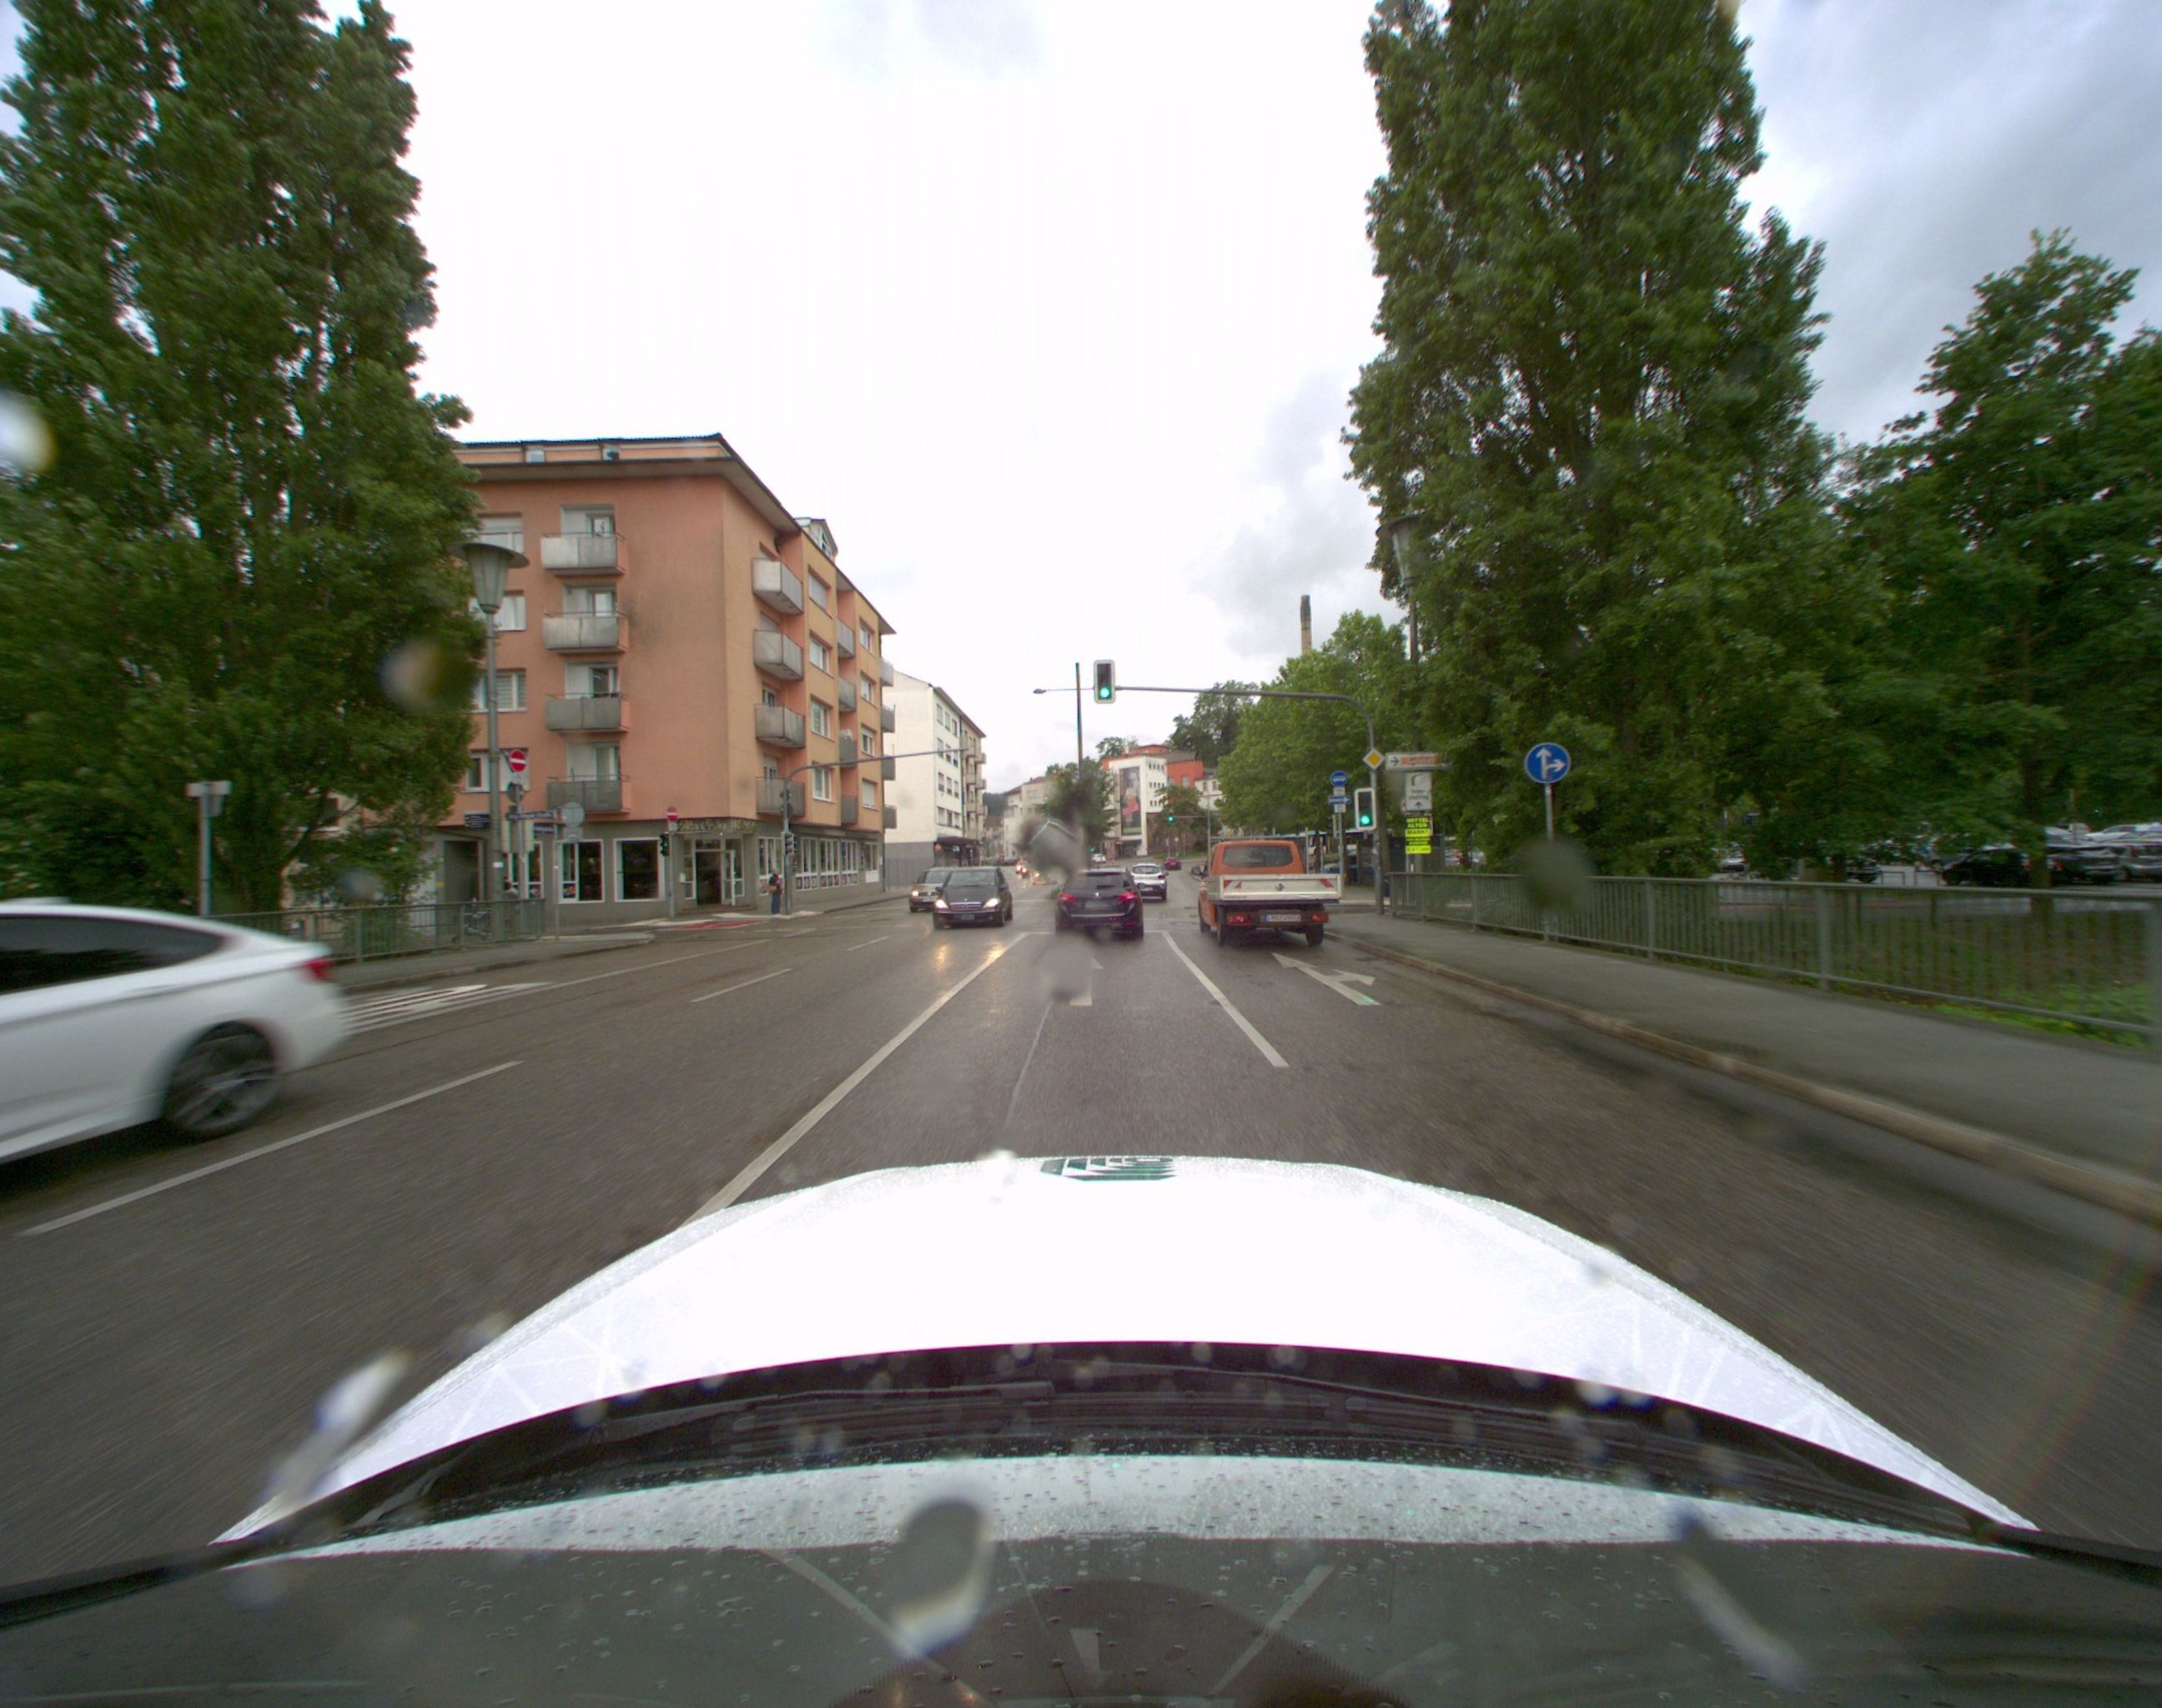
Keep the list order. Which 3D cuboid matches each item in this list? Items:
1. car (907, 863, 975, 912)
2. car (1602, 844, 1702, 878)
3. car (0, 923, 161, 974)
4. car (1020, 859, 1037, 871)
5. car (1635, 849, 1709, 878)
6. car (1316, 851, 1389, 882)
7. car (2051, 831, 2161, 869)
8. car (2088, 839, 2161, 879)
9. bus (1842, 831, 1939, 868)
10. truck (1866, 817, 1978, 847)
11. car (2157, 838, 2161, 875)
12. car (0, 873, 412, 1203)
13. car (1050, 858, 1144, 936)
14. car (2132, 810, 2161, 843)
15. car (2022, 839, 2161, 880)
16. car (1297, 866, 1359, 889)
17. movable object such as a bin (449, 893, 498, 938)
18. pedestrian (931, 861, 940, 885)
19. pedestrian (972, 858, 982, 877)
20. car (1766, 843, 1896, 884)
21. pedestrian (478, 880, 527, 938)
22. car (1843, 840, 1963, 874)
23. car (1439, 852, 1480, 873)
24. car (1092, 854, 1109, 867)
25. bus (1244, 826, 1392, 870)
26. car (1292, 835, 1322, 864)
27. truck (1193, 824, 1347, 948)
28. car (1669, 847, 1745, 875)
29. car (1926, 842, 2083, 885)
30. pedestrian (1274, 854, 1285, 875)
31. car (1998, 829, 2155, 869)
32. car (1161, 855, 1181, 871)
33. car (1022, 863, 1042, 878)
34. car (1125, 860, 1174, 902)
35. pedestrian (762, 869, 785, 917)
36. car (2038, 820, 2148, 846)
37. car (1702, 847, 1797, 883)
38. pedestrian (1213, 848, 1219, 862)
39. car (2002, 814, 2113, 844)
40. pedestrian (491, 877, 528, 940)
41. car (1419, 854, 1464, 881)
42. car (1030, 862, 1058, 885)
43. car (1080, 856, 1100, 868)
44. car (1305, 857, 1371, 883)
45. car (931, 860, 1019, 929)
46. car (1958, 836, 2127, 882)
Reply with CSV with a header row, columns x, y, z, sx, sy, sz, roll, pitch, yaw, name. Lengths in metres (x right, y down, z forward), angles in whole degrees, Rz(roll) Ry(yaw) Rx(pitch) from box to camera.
x,y,z,sx,sy,sz,roll,pitch,yaw,name
-5.186,1.193,30.604,1.730,1.601,3.920,-2,0,1,car
30.443,0.362,43.496,4.111,1.621,1.804,-2,0,-3,car
-33.456,3.113,26.905,3.971,1.388,1.900,-1,0,2,car
-6.495,1.408,100.872,1.685,1.401,3.662,-1,0,1,car
35.785,0.547,49.470,1.811,1.651,4.005,-1,0,4,car
16.859,0.772,50.740,3.969,1.924,1.972,0,0,4,car
50.126,-0.187,39.009,1.923,1.757,4.595,-1,0,1,car
44.951,0.188,33.642,1.795,1.587,3.902,-1,0,-1,car
49.554,-0.225,49.957,1.987,2.014,3.999,1,-2,1,bus
69.577,-1.741,67.596,2.435,2.239,6.518,-1,0,-2,truck
47.391,0.069,33.233,1.795,1.587,3.902,-1,0,-1,car
-6.058,0.942,3.766,1.830,1.510,4.821,-3,0,1,car
0.453,0.843,17.519,1.787,1.483,4.004,0,-1,4,car
67.996,-1.762,49.605,1.987,2.014,4.595,-1,0,0,car
42.449,0.204,33.992,1.795,1.587,3.902,-1,0,-1,car
17.583,1.648,58.077,3.969,1.509,1.745,1,0,4,car
-16.103,1.627,21.581,0.789,1.111,0.889,-5,-3,41,movable object such as a bin
-11.619,1.502,64.945,0.637,1.861,0.523,-1,0,-1,pedestrian
-10.952,1.452,85.626,0.731,2.014,0.651,3,-3,-32,pedestrian
35.117,0.437,38.315,1.795,1.764,4.584,-1,0,-1,car
-15.088,1.432,21.247,0.646,1.445,0.803,-4,-2,20,pedestrian
44.649,0.180,44.402,1.923,1.757,4.595,-1,0,1,car
32.971,0.766,71.051,1.897,1.737,3.723,1,-2,-1,car
2.874,0.941,122.606,1.991,1.821,3.992,-1,0,-6,car
29.962,-0.690,103.547,17.838,5.211,3.102,-1,-1,4,bus
23.432,-0.425,84.673,2.064,2.970,4.230,-1,-1,2,car
3.426,0.523,15.705,2.113,2.025,4.719,0,0,3,truck
38.350,0.408,49.998,1.811,1.651,4.005,-1,0,4,car
37.379,0.359,33.140,1.795,1.590,4.014,-1,0,-1,car
16.030,0.861,65.754,0.721,1.700,0.623,-1,-1,3,pedestrian
47.451,-0.208,39.007,1.923,1.757,4.595,-1,0,1,car
9.949,1.006,89.870,1.640,1.564,3.596,1,-2,-2,car
-4.962,1.665,82.269,1.659,1.399,3.877,-3,0,1,car
2.752,1.030,32.783,1.787,1.483,4.005,-2,0,4,car
-11.231,1.421,29.760,0.528,1.727,0.649,-2,0,5,pedestrian
70.700,-1.429,57.031,1.876,1.654,4.587,-1,0,-5,car
35.767,0.561,43.695,1.795,1.764,3.945,-1,0,-1,car
17.264,0.147,104.362,0.637,1.664,0.563,-3,1,0,pedestrian
61.753,-1.545,51.616,1.987,1.702,4.253,-1,0,0,car
-15.561,1.481,22.164,0.789,1.663,0.625,-5,-3,41,pedestrian
28.831,1.104,65.266,1.897,2.014,3.723,1,-2,-1,car
-2.578,1.373,57.415,1.648,1.450,3.545,-3,0,2,car
1.251,1.201,120.028,1.652,1.564,3.572,2,-3,-23,car
17.364,1.061,55.164,3.969,1.650,1.920,1,0,4,car
-2.795,1.026,22.341,1.730,1.601,3.920,-3,0,1,car
39.572,0.195,33.697,1.795,1.709,4.343,-1,0,-1,car
